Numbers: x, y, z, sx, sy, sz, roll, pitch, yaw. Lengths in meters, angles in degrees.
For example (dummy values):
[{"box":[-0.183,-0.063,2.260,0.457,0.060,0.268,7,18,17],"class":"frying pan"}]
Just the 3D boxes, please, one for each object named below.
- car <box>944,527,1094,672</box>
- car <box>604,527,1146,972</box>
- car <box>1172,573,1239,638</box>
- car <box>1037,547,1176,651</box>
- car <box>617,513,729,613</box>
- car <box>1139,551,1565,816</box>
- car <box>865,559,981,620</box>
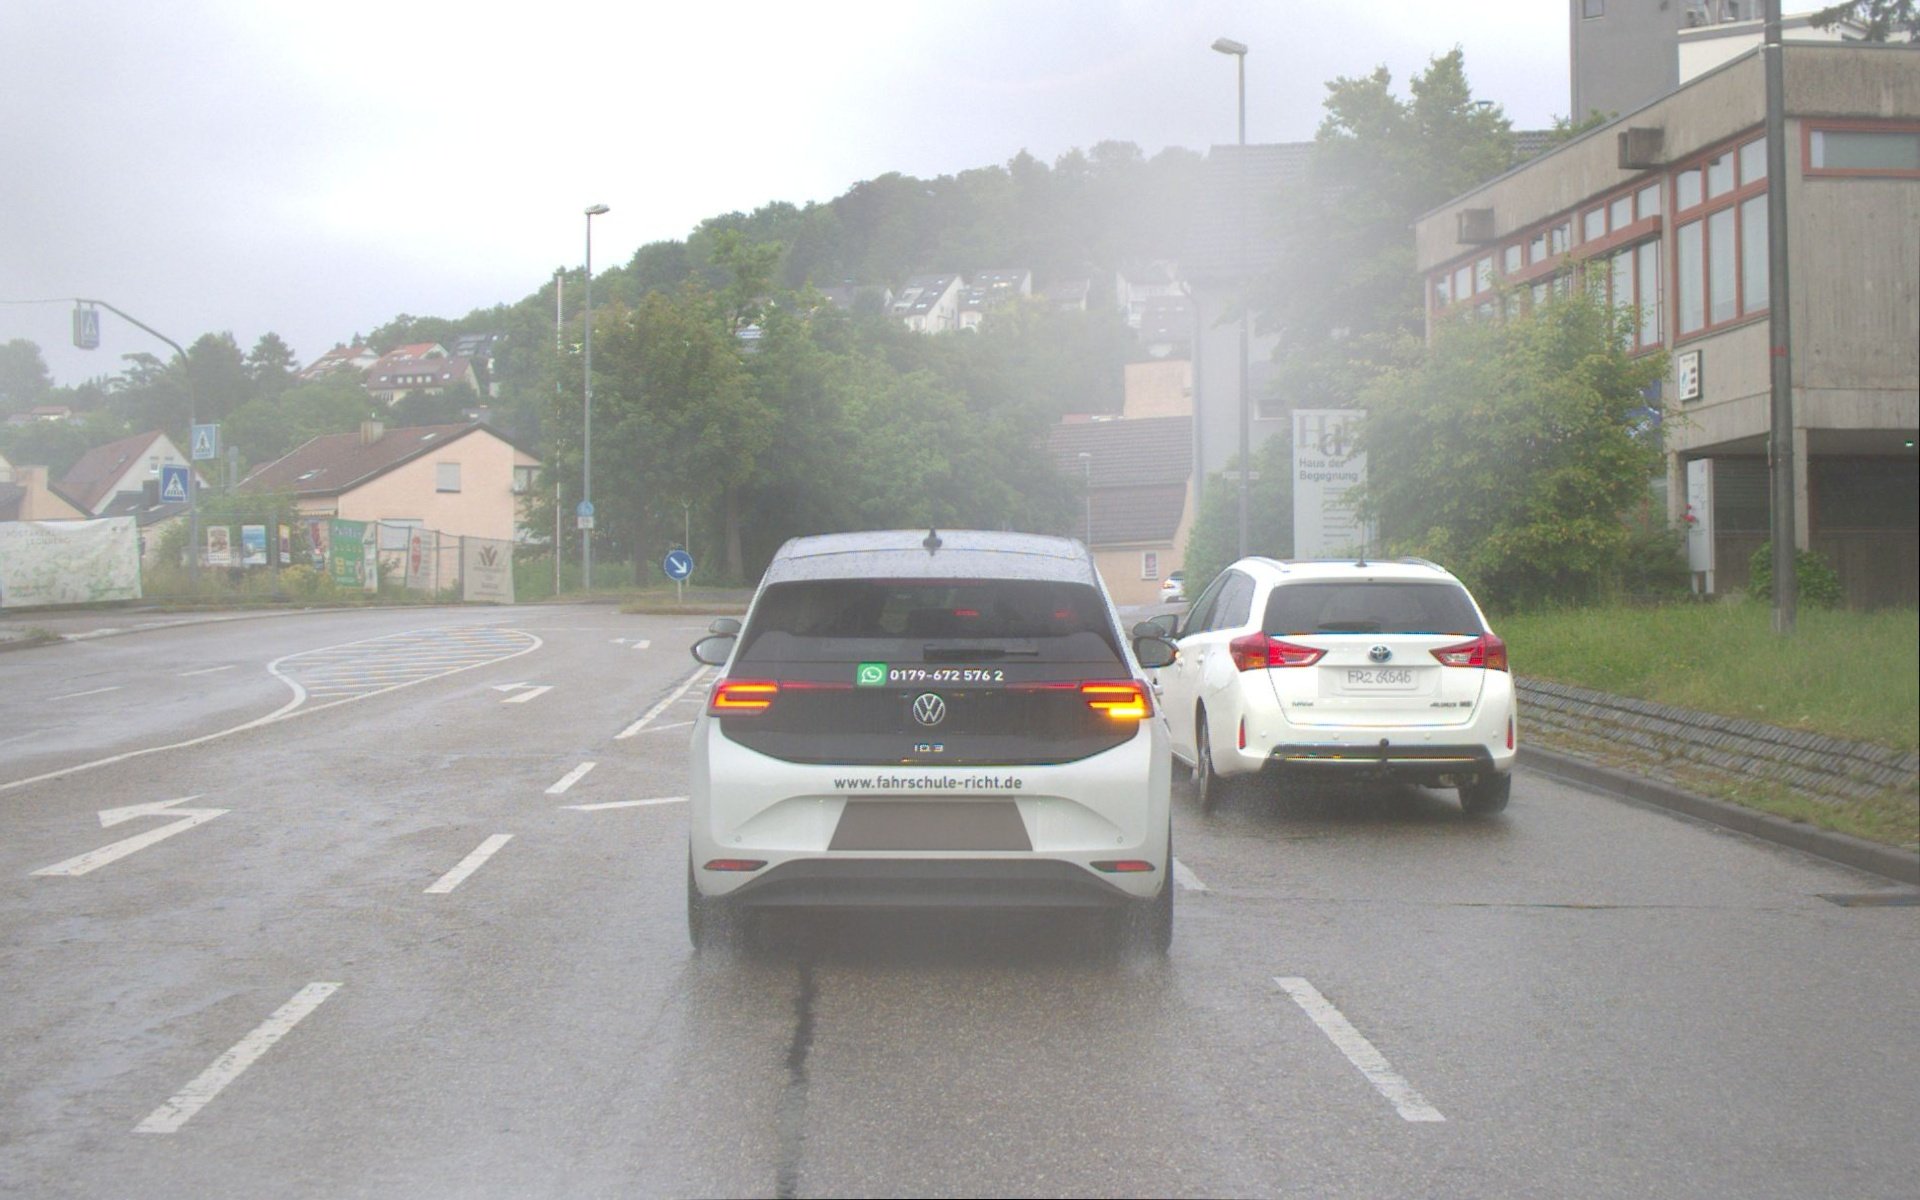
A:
[{"box":[0.614,-0.039,38.099,1.567,1.525,4.000,0,1,0],"class":"car"},{"box":[-0.211,0.503,13.724,1.829,1.495,4.168,0,0,2],"class":"car"},{"box":[7.845,0.178,110.120,1.994,2.007,4.000,1,0,2],"class":"car"},{"box":[2.235,-0.016,52.661,1.994,1.448,3.770,-2,0,2],"class":"car"},{"box":[-6.009,-0.746,72.374,1.993,2.007,4.000,1,0,0],"class":"car"},{"box":[2.196,0.444,20.427,1.848,1.405,4.302,0,0,-3],"class":"car"},{"box":[-1.046,-0.294,100.268,1.995,1.687,4.701,1,0,18],"class":"car"}]
